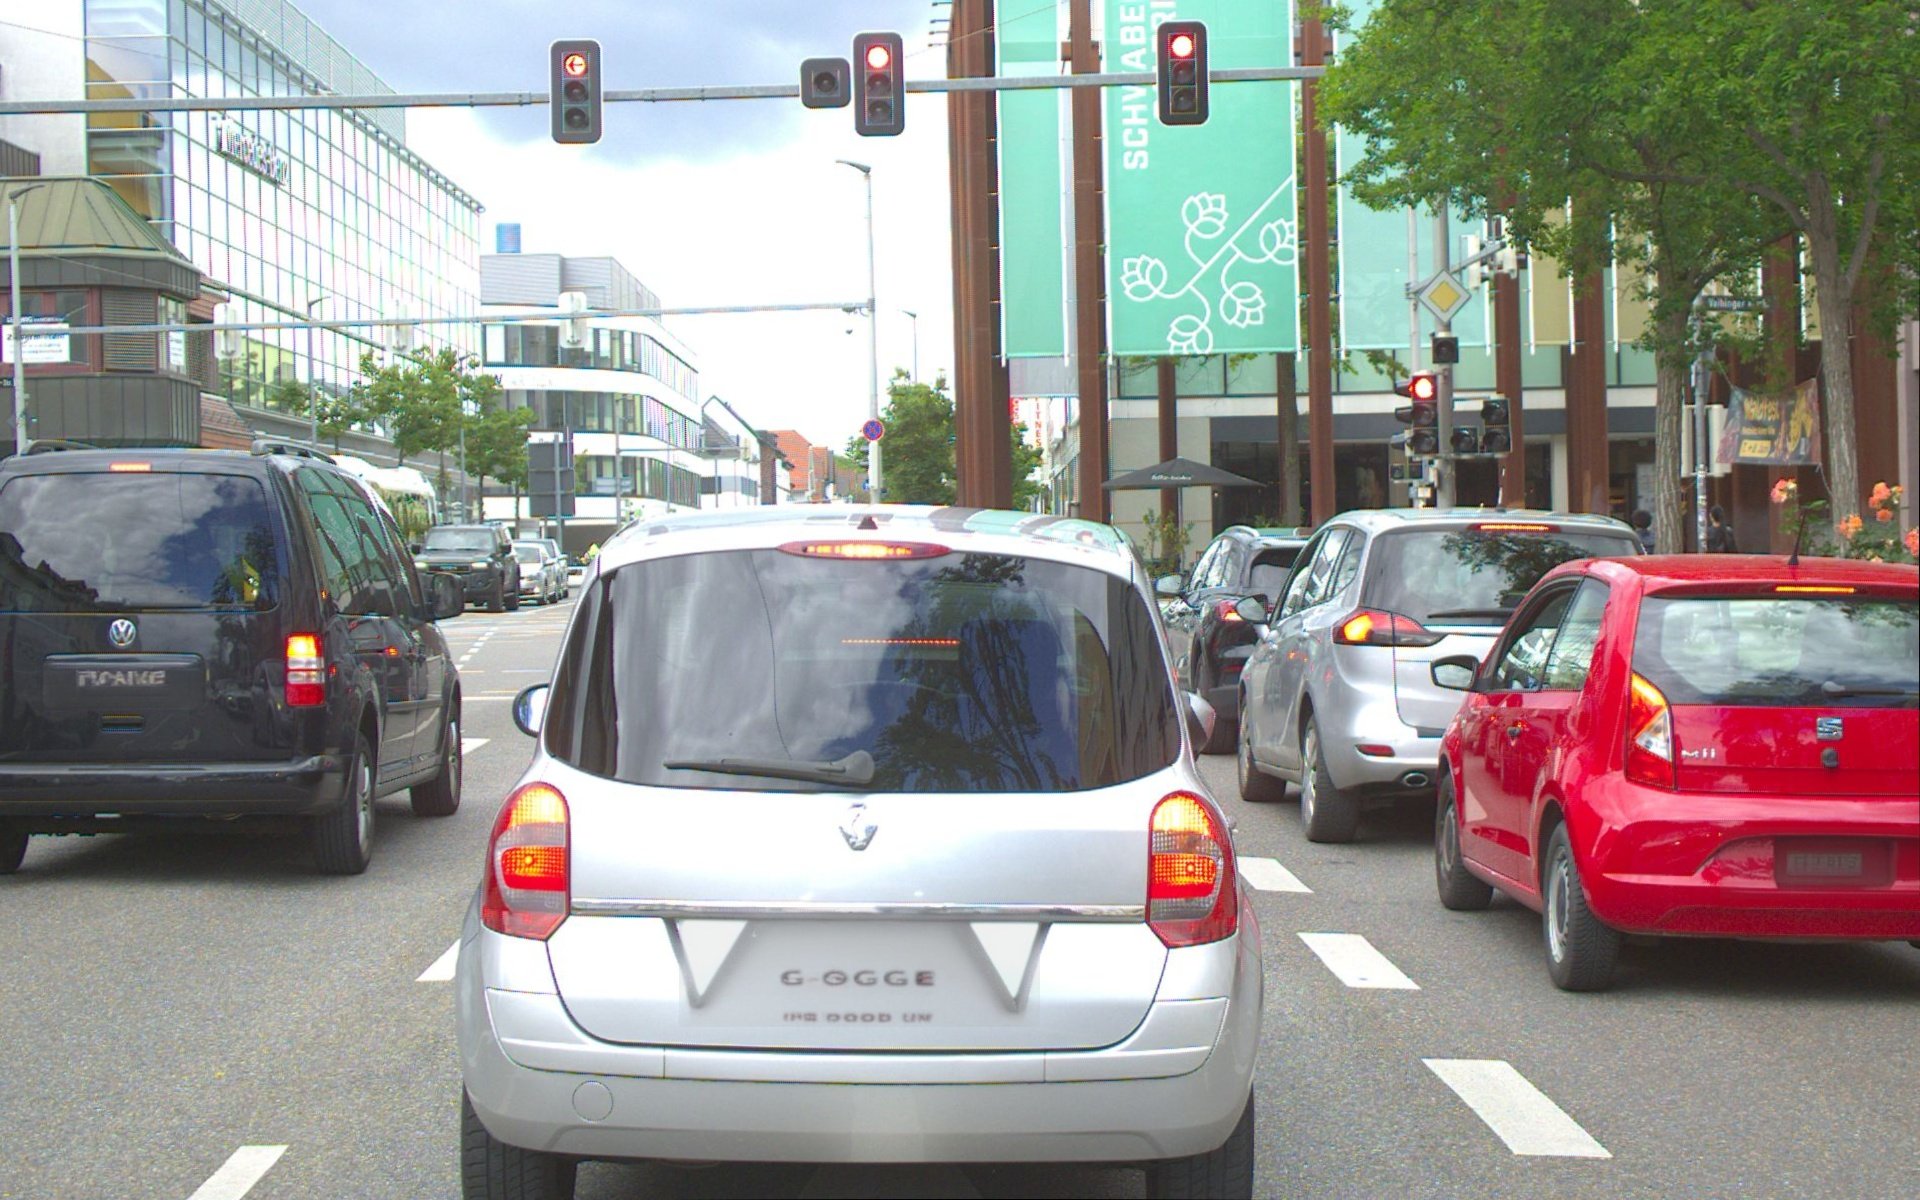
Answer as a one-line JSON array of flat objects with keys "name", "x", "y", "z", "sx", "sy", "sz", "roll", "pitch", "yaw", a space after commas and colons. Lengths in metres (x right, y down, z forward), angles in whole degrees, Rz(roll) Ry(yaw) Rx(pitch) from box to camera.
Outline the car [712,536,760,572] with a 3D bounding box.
[{"name": "car", "x": -9.899, "y": -2.058, "z": 152.003, "sx": 1.801, "sy": 1.535, "sz": 4.065, "roll": 0, "pitch": 1, "yaw": 1}]

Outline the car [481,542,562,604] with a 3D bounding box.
[{"name": "car", "x": -10.180, "y": -0.634, "z": 79.912, "sx": 1.555, "sy": 1.387, "sz": 3.288, "roll": -1, "pitch": 1, "yaw": -2}]

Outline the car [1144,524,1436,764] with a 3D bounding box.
[{"name": "car", "x": 2.332, "y": 0.258, "z": 25.124, "sx": 1.586, "sy": 1.589, "sz": 3.868, "roll": 1, "pitch": 1, "yaw": -2}]

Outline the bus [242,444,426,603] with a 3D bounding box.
[{"name": "bus", "x": -13.600, "y": -1.668, "z": 75.307, "sx": 2.686, "sy": 3.250, "sz": 8.654, "roll": -1, "pitch": 1, "yaw": -2}]

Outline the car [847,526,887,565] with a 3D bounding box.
[{"name": "car", "x": -4.811, "y": -2.828, "z": 177.751, "sx": 1.993, "sy": 1.942, "sz": 4.951, "roll": -1, "pitch": 1, "yaw": -2}]

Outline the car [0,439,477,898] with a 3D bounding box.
[{"name": "car", "x": -3.457, "y": 0.230, "z": 16.251, "sx": 1.744, "sy": 1.849, "sz": 4.634, "roll": 1, "pitch": 1, "yaw": -1}]

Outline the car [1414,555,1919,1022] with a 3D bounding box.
[{"name": "car", "x": 2.709, "y": 0.582, "z": 12.569, "sx": 1.586, "sy": 1.438, "sz": 3.348, "roll": 1, "pitch": 1, "yaw": -1}]

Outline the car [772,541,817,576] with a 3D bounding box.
[{"name": "car", "x": -7.552, "y": -1.899, "z": 157.334, "sx": 1.801, "sy": 1.535, "sz": 4.065, "roll": 0, "pitch": 1, "yaw": 1}]

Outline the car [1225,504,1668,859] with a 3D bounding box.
[{"name": "car", "x": 2.420, "y": 0.345, "z": 17.988, "sx": 1.586, "sy": 1.628, "sz": 3.917, "roll": 1, "pitch": 1, "yaw": -2}]

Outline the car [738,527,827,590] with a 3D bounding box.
[{"name": "car", "x": -4.854, "y": -1.153, "z": 94.431, "sx": 1.917, "sy": 1.671, "sz": 4.242, "roll": 0, "pitch": 1, "yaw": 4}]

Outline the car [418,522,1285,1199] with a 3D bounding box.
[{"name": "car", "x": -0.234, "y": 0.584, "z": 8.236, "sx": 1.640, "sy": 1.522, "sz": 3.394, "roll": 0, "pitch": 1, "yaw": -1}]

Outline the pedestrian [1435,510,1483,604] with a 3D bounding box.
[{"name": "pedestrian", "x": 8.790, "y": -0.763, "z": 60.538, "sx": 0.651, "sy": 1.645, "sz": 0.559, "roll": -1, "pitch": 1, "yaw": -15}]

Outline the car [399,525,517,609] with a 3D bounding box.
[{"name": "car", "x": -10.531, "y": -0.716, "z": 72.329, "sx": 1.993, "sy": 1.700, "sz": 4.065, "roll": -1, "pitch": 1, "yaw": -2}]
